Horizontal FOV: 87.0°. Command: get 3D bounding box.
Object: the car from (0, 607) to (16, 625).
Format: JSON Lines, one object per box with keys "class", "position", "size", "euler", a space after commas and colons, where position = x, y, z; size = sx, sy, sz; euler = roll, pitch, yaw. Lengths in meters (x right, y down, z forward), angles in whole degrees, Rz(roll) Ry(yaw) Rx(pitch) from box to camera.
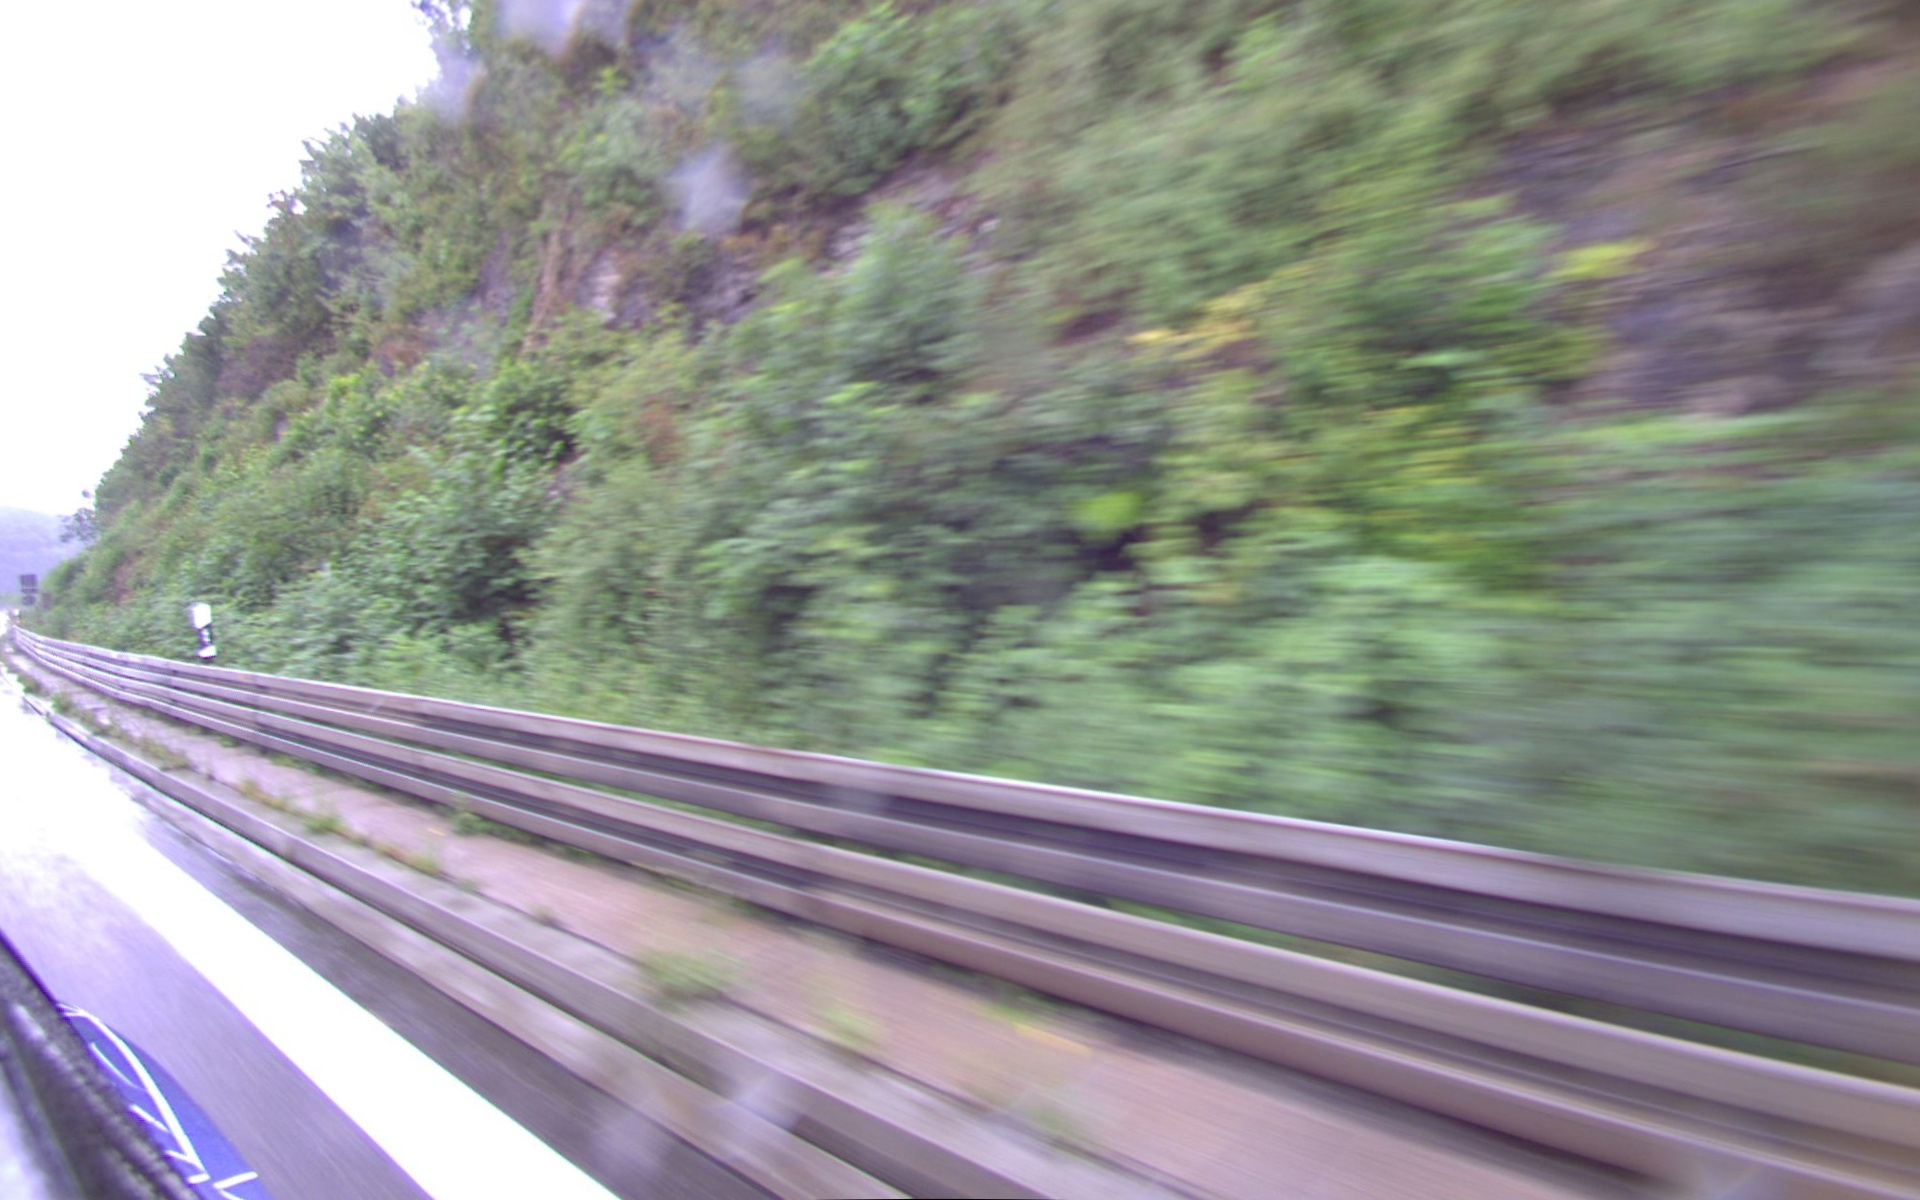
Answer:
{"class": "car", "position": [-110.980, 1.834, 117.504], "size": [4.002, 2.029, 1.882], "euler": [-1, 0, 45]}
